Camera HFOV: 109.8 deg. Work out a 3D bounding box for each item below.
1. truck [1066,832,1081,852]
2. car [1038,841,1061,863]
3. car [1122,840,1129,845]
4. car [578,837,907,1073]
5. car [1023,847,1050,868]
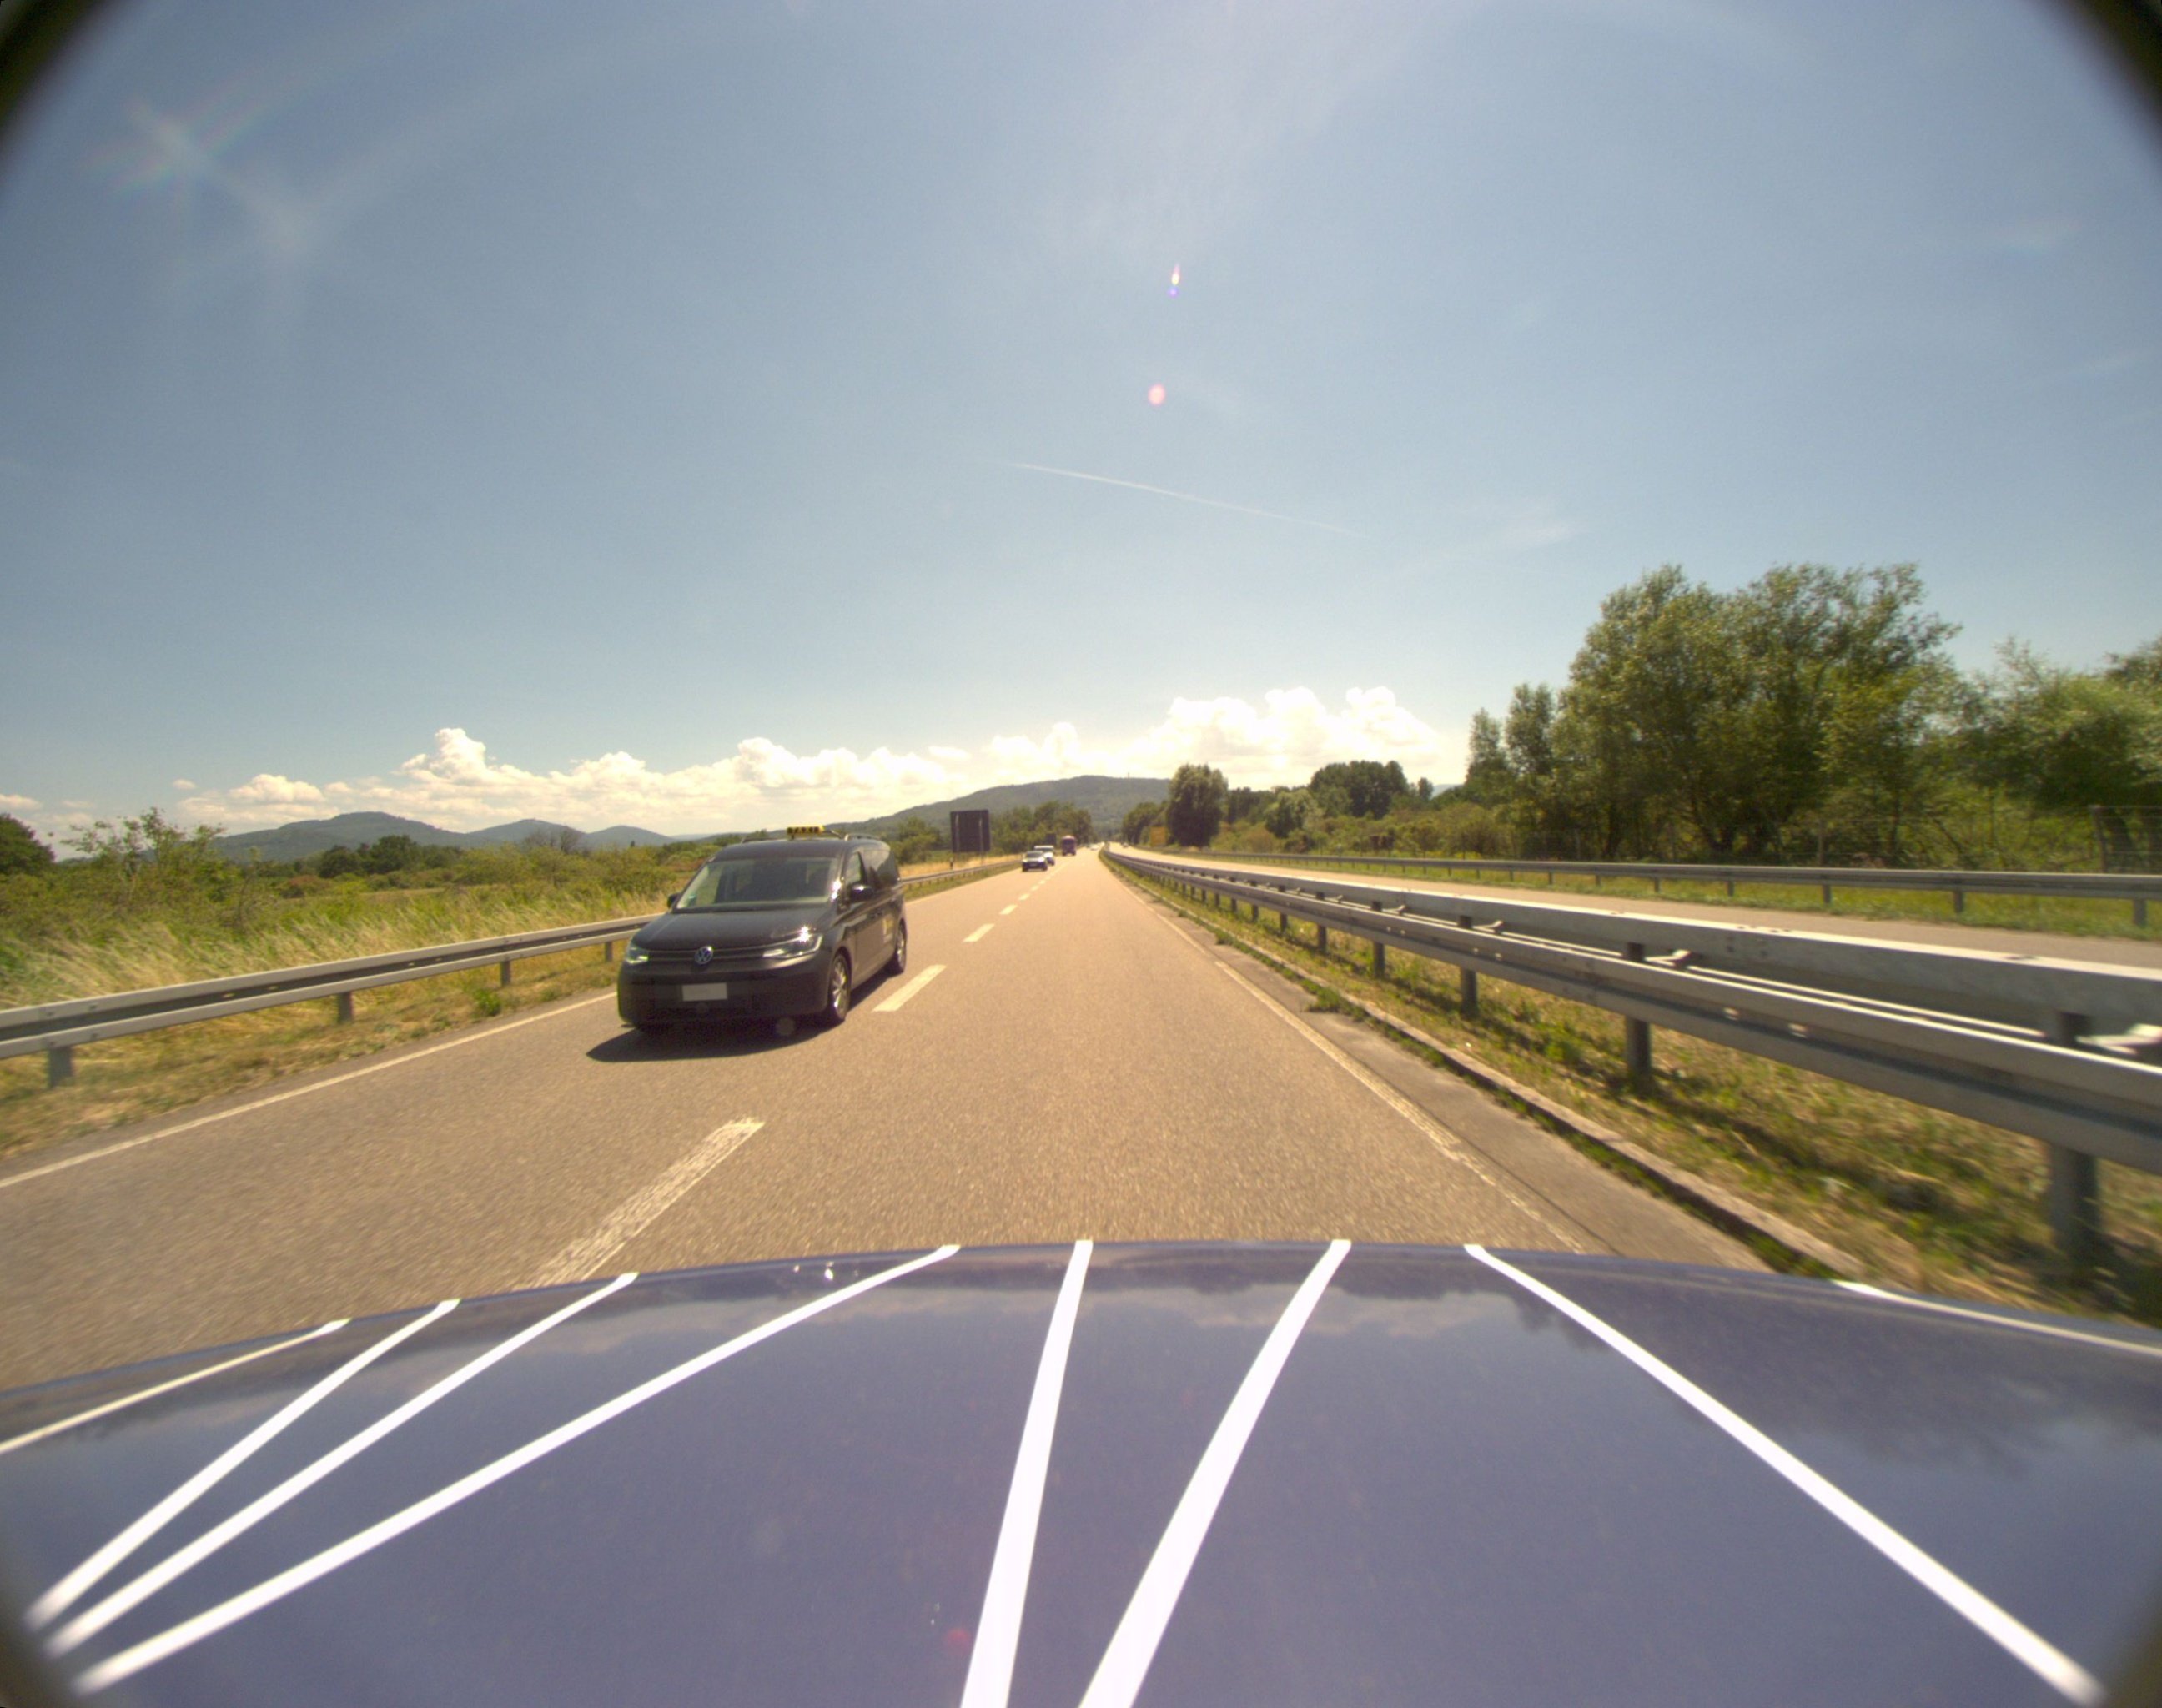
[{"bbox_3d":[-1.465,-2.364,147.581,2.604,3.670,5.939,-2,1,2],"label":"truck"},{"bbox_3d":[-3.170,-0.216,76.632,2.011,1.977,5.033,-3,1,0],"label":"car"},{"bbox_3d":[14.876,-3.820,254.346,1.831,1.489,4.102,-4,1,1],"label":"car"},{"bbox_3d":[-3.170,0.776,8.177,1.785,1.806,4.211,-3,1,-3],"label":"car"},{"bbox_3d":[-3.417,0.273,58.885,1.789,1.544,4.019,-1,1,1],"label":"car"}]
